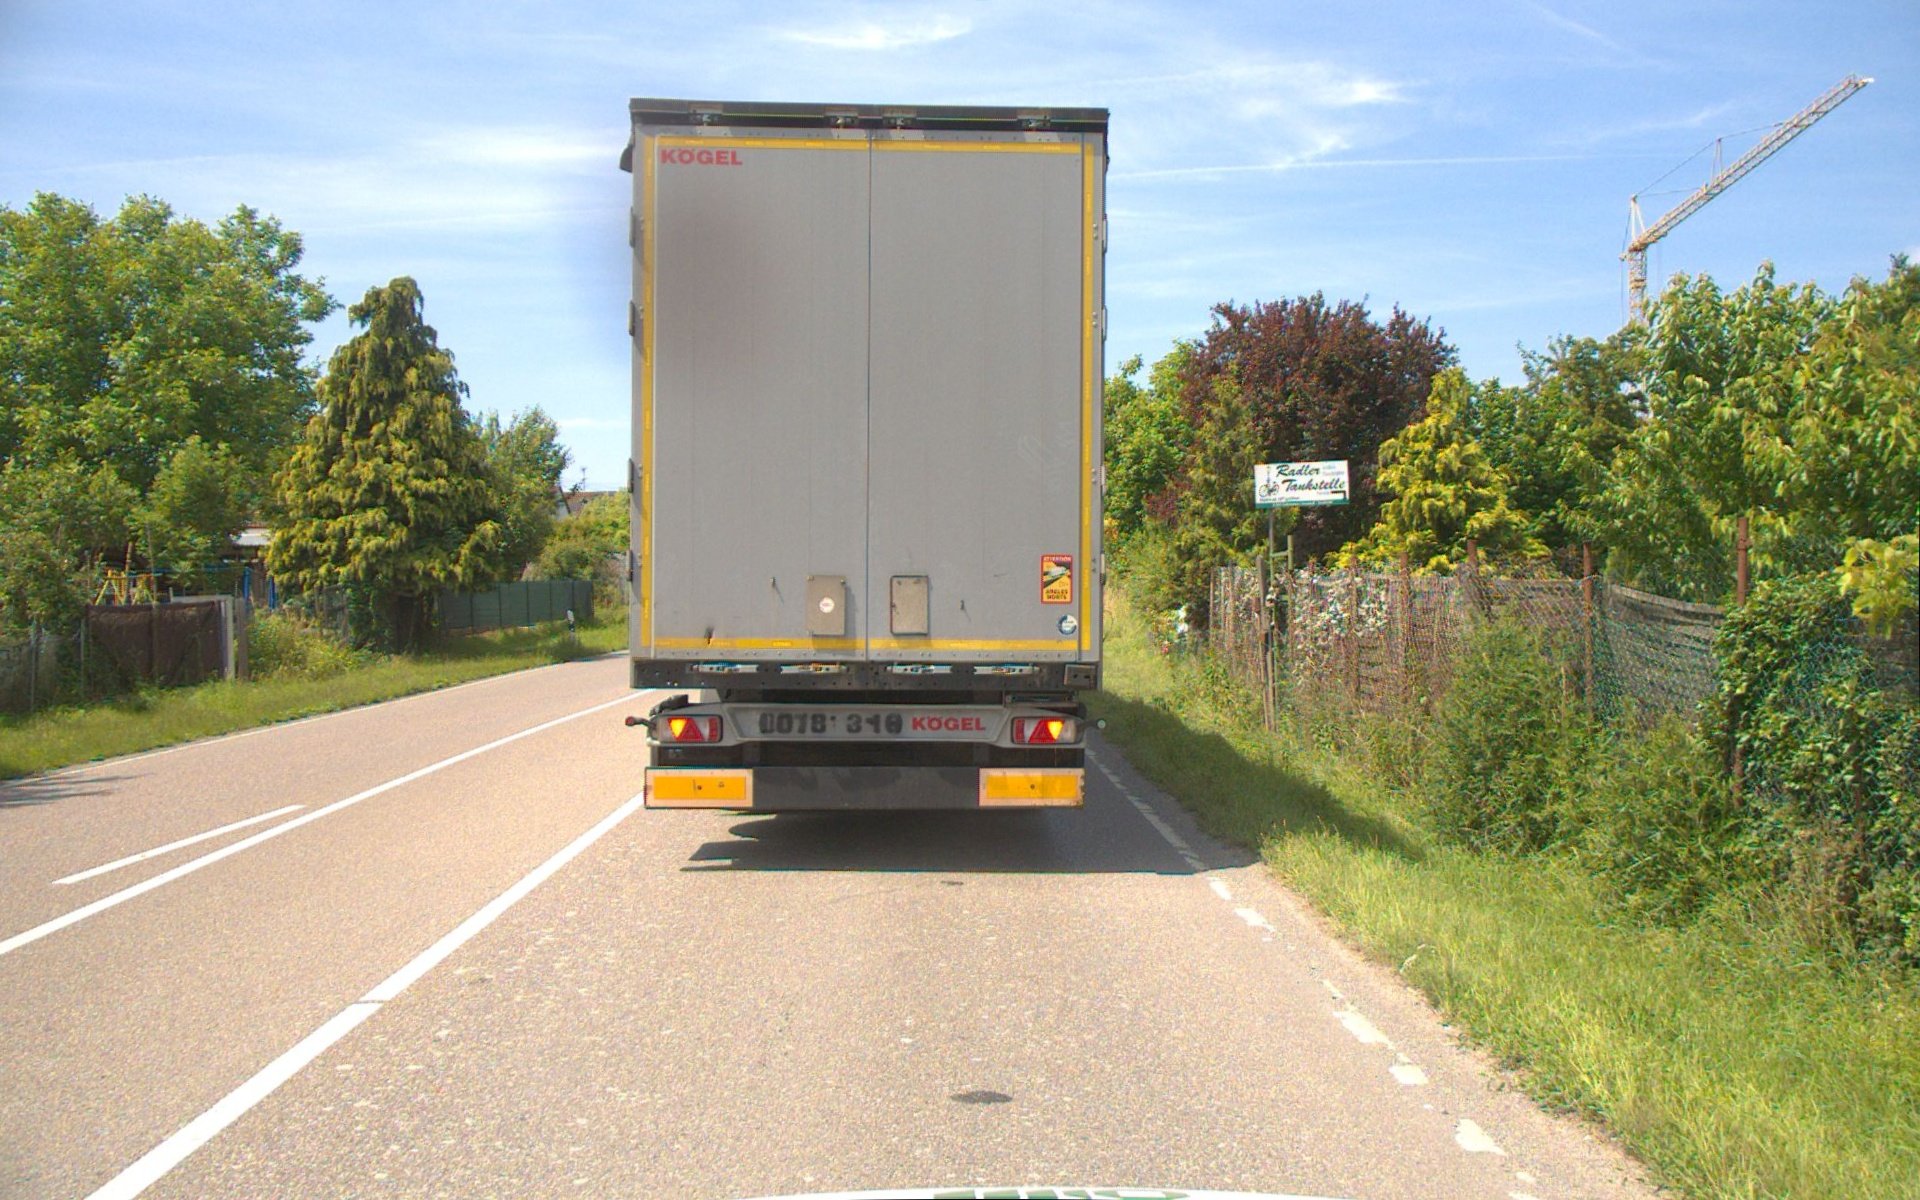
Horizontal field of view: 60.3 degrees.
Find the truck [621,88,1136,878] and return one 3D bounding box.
[{"bbox_3d":[-0.621,-0.619,12.834,2.594,3.985,8.820,0,0,-3],"label":"truck"}]
